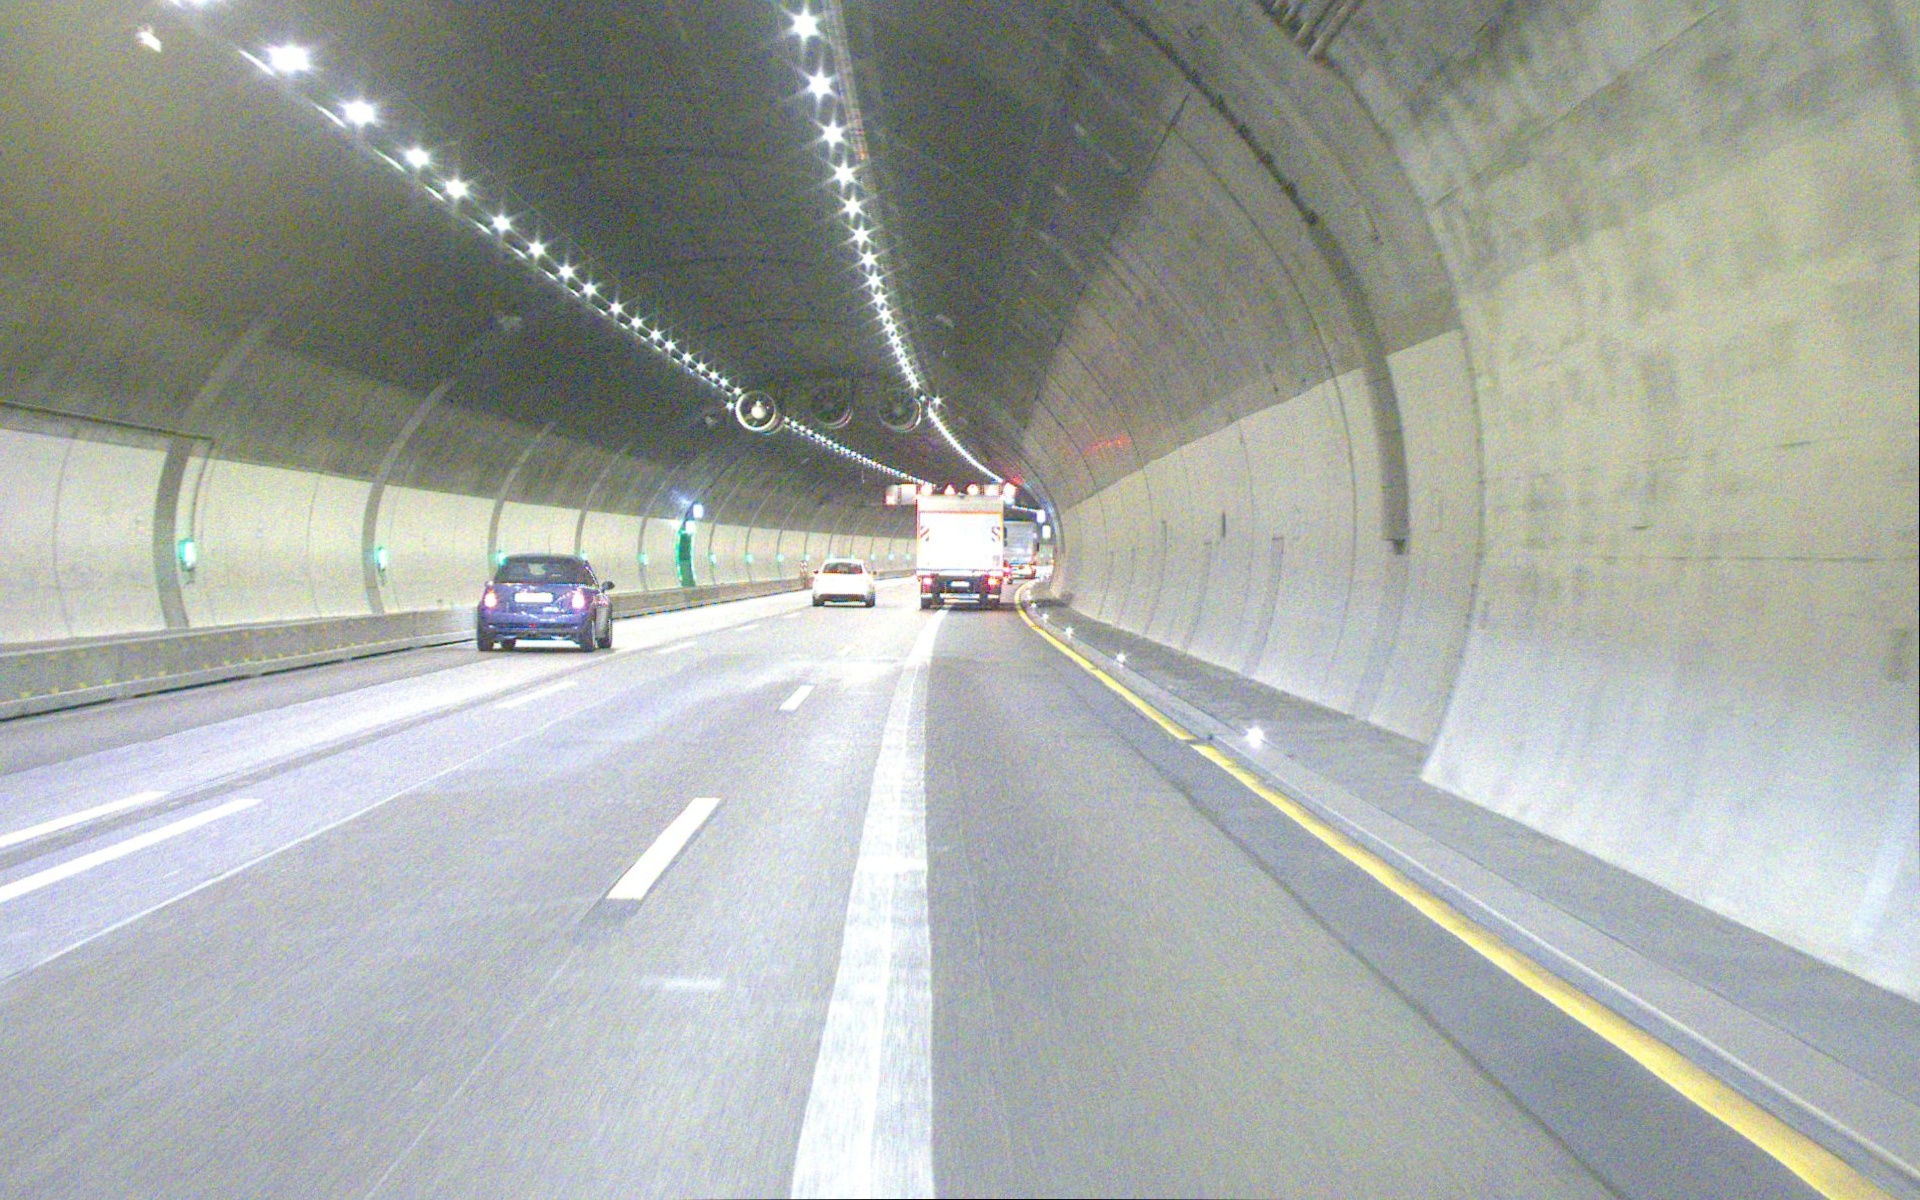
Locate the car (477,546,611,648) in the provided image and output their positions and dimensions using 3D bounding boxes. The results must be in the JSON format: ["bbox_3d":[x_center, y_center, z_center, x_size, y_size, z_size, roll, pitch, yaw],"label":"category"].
[{"bbox_3d":[-6.071,-0.071,50.492,1.689,1.412,3.923,0,1,-3],"label":"car"}]

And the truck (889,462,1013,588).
[{"bbox_3d":[-0.266,-2.289,105.667,3.592,3.638,10.723,0,1,0],"label":"truck"}]

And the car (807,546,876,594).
[{"bbox_3d":[-3.632,-0.938,106.009,1.993,1.408,4.743,0,1,0],"label":"car"}]
